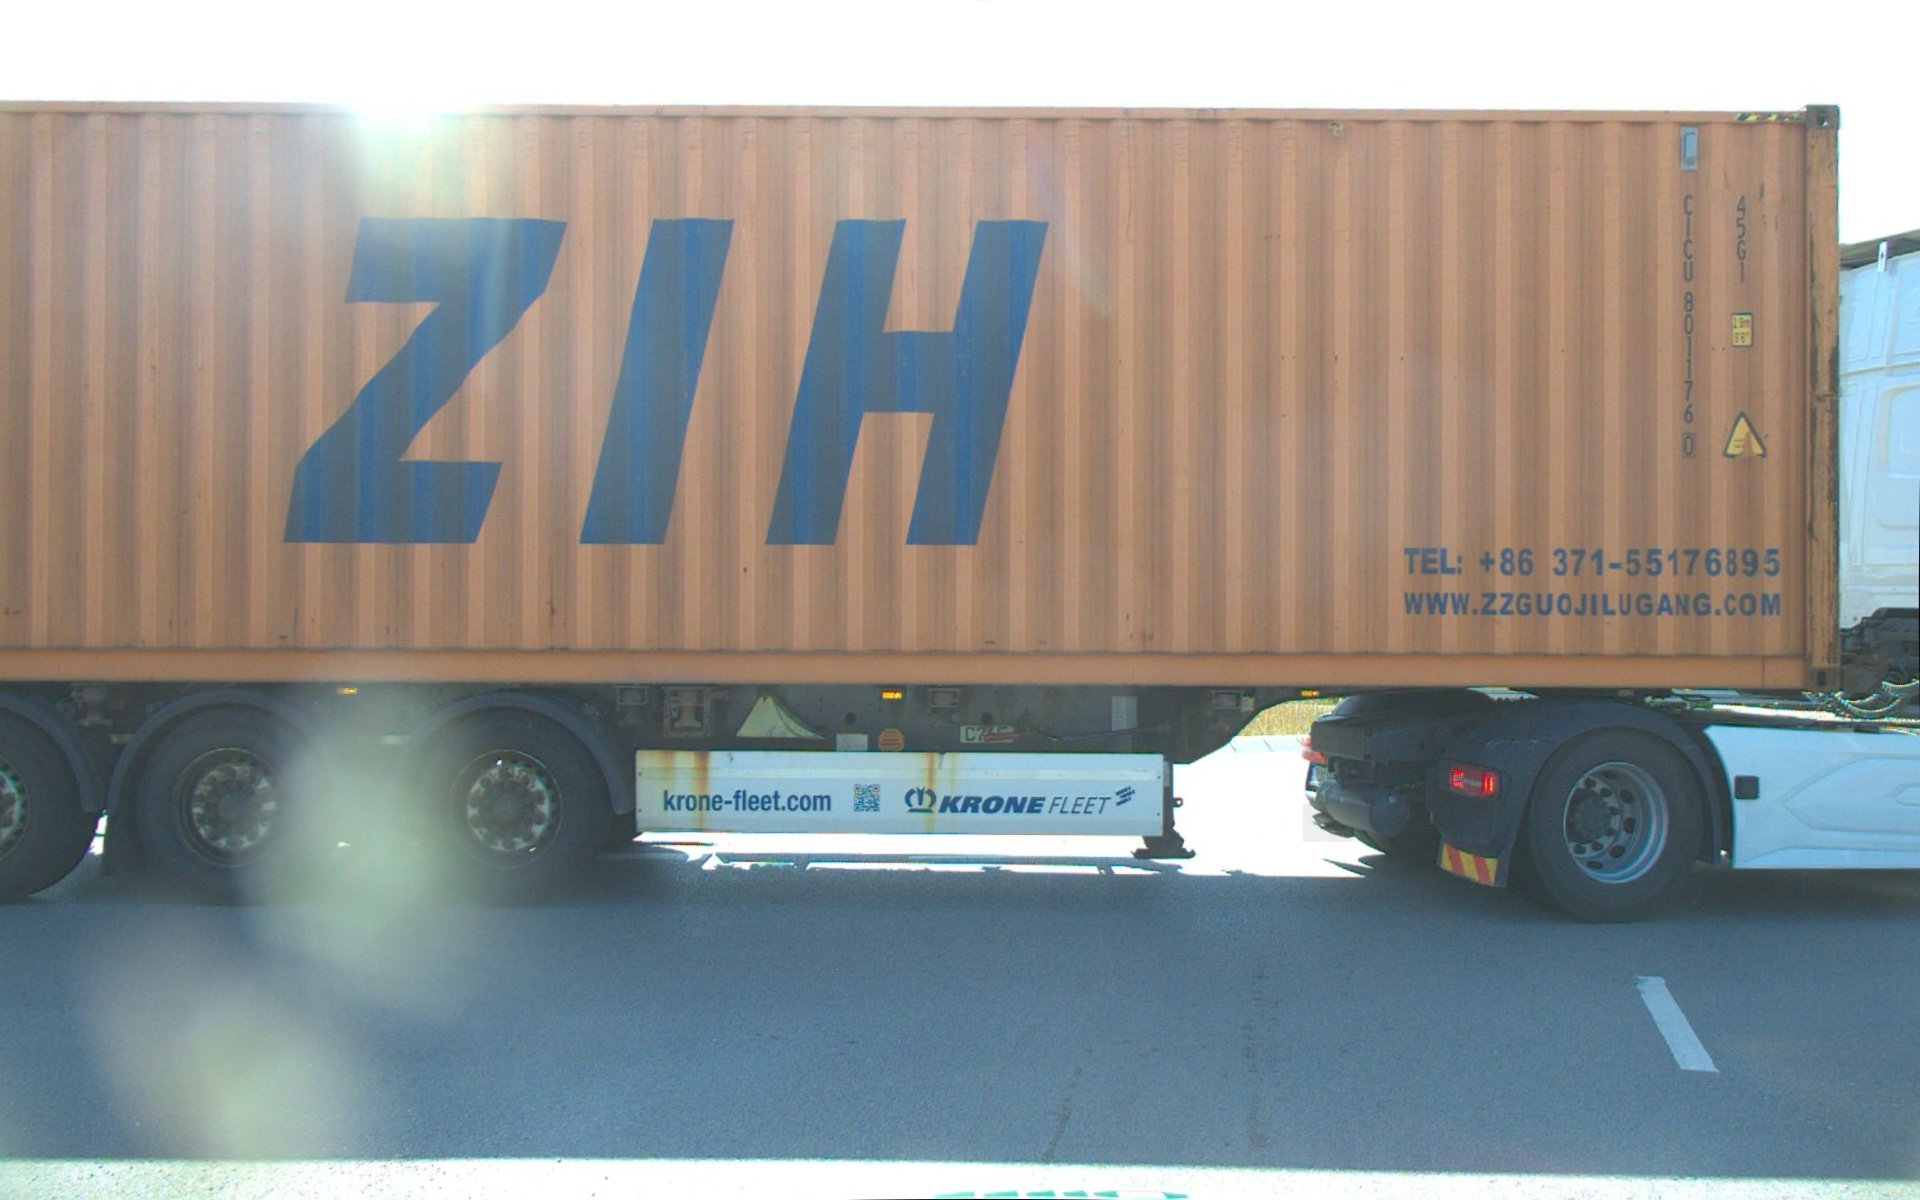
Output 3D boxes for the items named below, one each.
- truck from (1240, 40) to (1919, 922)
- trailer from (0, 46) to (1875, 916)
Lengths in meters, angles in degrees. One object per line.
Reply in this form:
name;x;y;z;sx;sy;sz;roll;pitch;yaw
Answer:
truck;5.113;-0.509;9.754;6.298;4.179;2.656;1;-1;-11
trailer;-1.526;-0.595;9.438;12.067;4.227;2.561;0;-1;0
